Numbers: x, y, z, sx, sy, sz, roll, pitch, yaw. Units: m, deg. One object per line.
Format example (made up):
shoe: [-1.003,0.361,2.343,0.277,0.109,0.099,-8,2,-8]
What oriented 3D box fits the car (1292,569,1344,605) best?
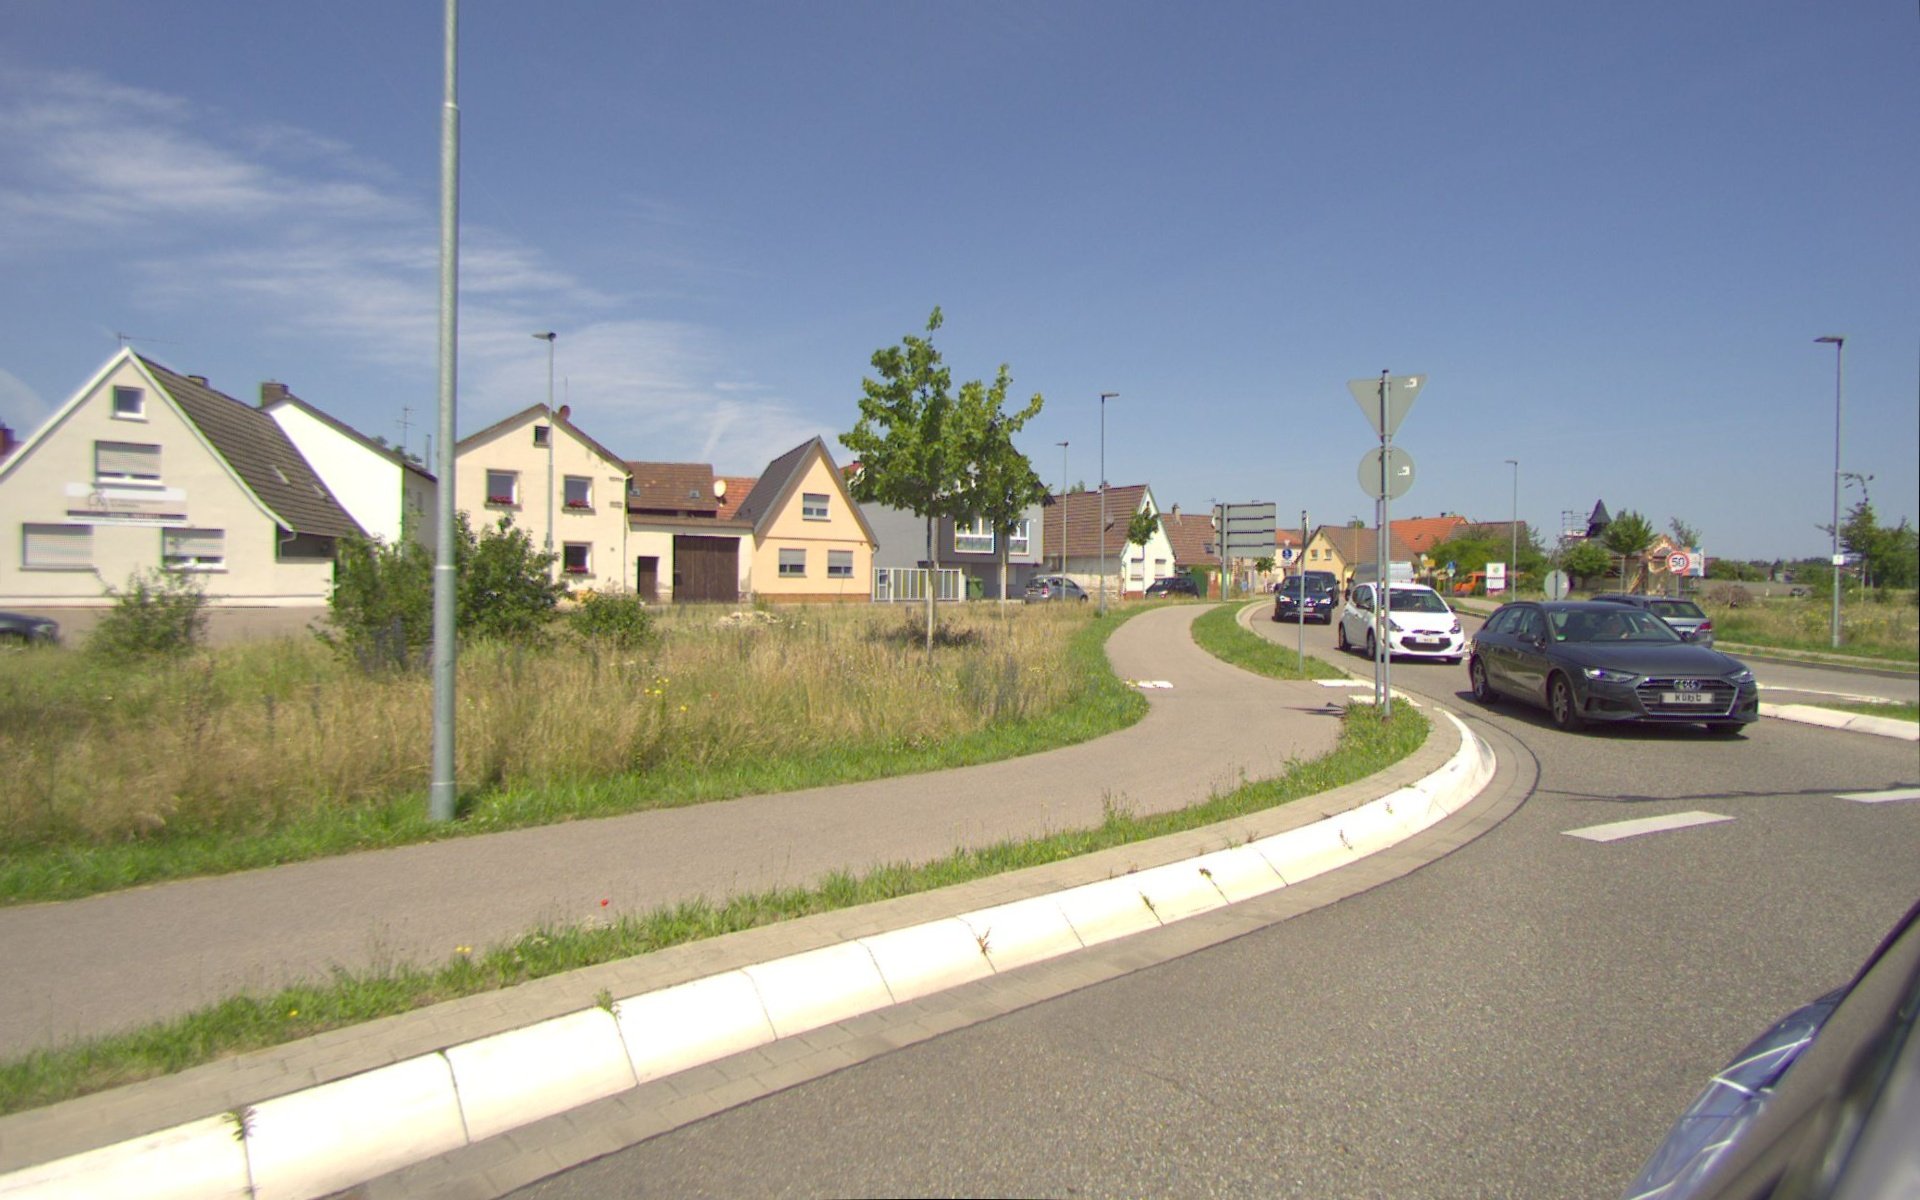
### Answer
car: [16.414,-0.615,46.241,1.849,1.581,4.686,0,1,24]

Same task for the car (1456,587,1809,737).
car: [7.882,0.609,12.479,1.838,1.452,4.510,-2,1,9]

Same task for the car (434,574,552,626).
car: [-13.564,-0.037,29.632,1.619,1.410,4.001,0,1,0]

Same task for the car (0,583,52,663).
car: [-17.596,0.393,16.554,1.741,1.327,3.939,1,2,42]

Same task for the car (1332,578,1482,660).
car: [9.478,0.318,21.856,1.838,1.581,4.510,0,1,9]

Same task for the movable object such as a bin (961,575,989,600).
movable object such as a bin: [0.850,-0.707,57.462,1.182,1.407,1.084,0,1,-41]

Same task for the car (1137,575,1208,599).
car: [12.452,-0.761,59.287,3.691,1.368,1.857,0,1,-28]

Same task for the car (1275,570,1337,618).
car: [11.991,-0.246,35.266,1.697,1.581,4.133,0,1,15]

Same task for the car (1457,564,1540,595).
car: [46.995,-1.788,88.448,2.309,2.616,6.145,0,1,-29]

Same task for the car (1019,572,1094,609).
car: [5.090,-0.528,53.074,1.849,1.853,3.935,1,2,45]

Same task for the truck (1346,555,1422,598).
truck: [26.429,-1.491,63.361,2.193,2.537,5.639,0,1,-2]

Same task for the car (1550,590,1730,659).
car: [16.663,0.528,25.138,1.807,1.509,4.855,0,0,9]
